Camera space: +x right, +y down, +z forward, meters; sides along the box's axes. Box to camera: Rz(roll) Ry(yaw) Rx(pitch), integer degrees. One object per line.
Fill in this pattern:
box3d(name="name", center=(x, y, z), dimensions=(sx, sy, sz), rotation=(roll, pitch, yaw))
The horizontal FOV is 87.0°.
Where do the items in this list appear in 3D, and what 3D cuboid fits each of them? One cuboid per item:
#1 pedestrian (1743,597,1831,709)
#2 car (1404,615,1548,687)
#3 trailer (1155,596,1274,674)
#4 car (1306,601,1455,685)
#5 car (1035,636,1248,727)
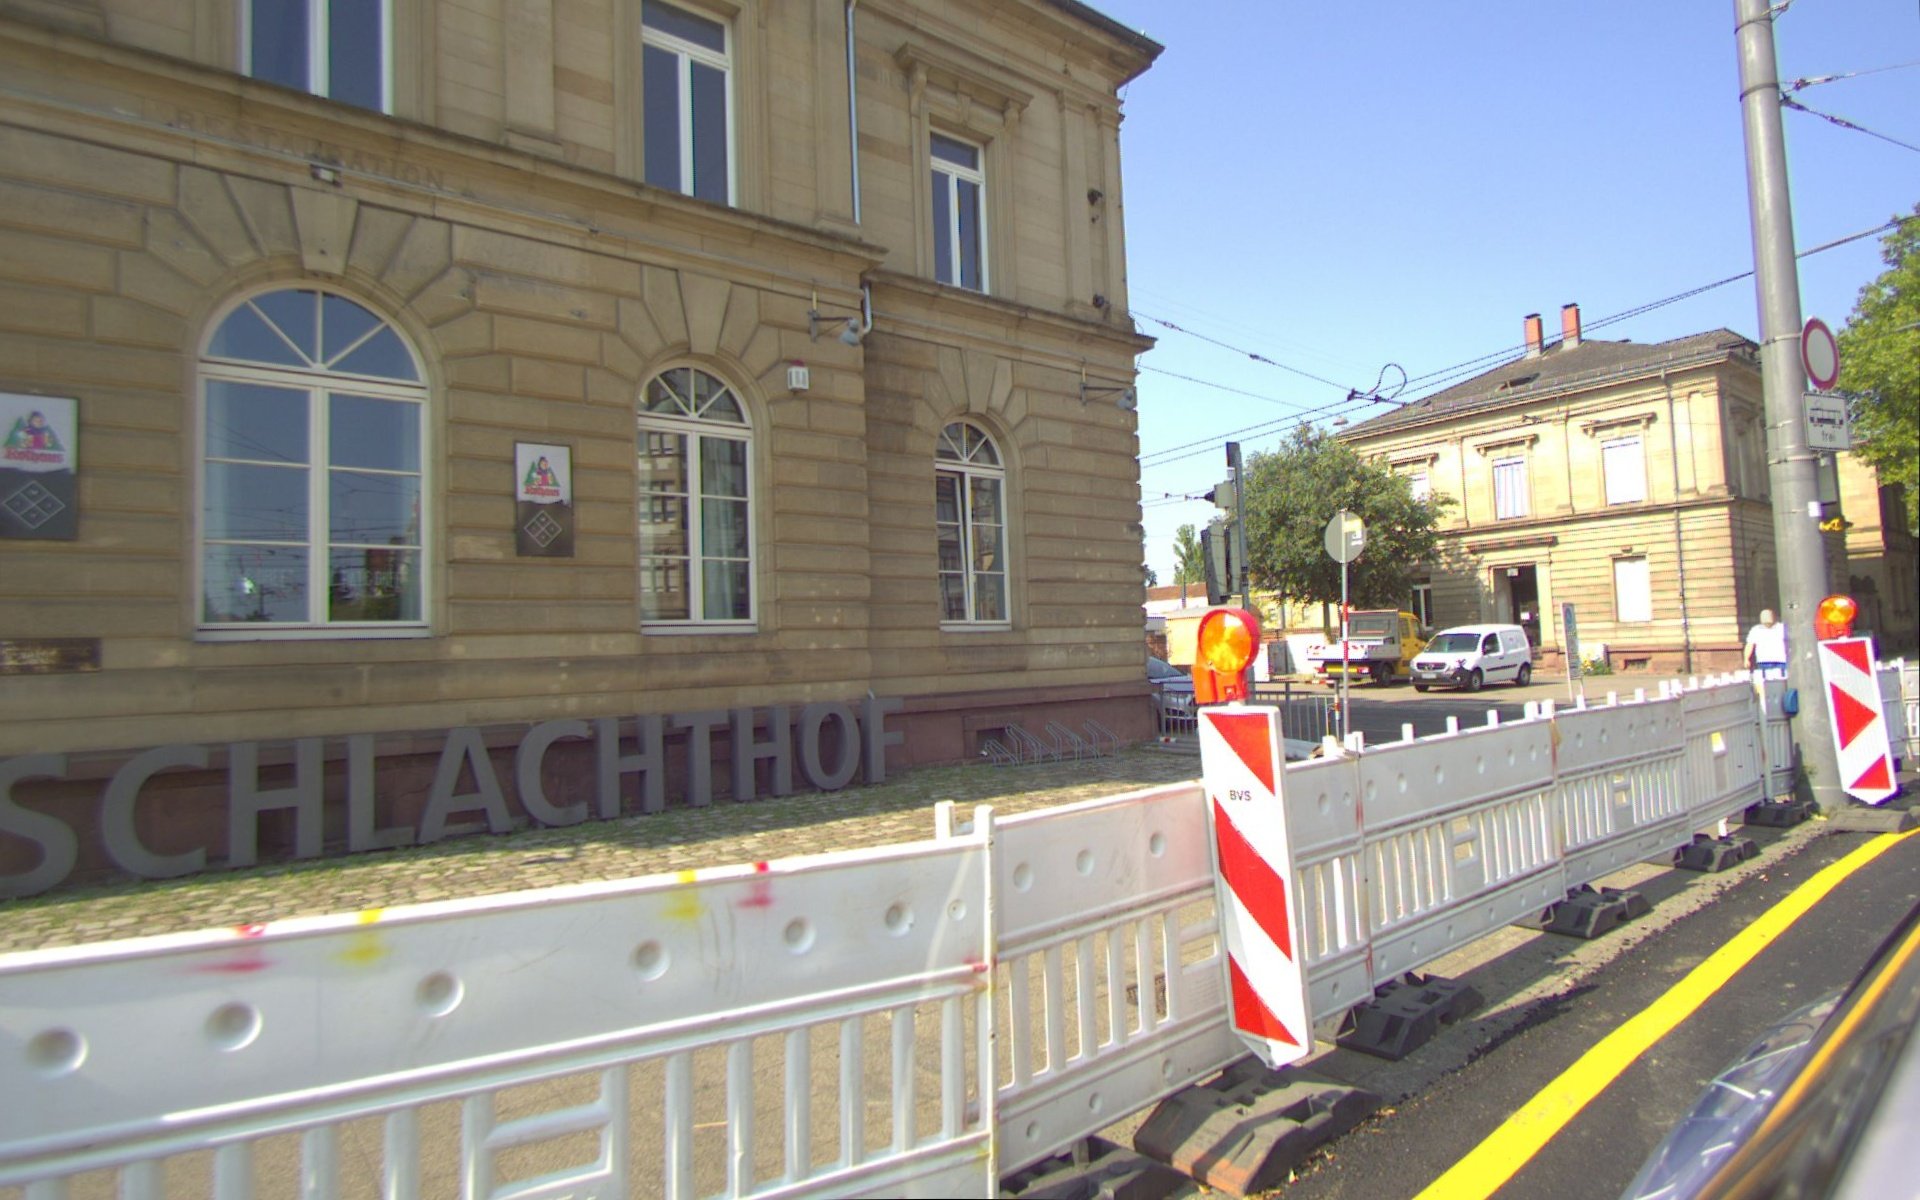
box3d(name="pedestrian", center=(13.493, 0.864, 16.514), dimensions=(0.659, 1.760, 0.868), rotation=(0, -5, -38))
box3d(name="car", center=(14.622, 1.415, 28.620), dimensions=(4.146, 1.806, 1.908), rotation=(-1, -3, -36))
box3d(name="trailer", center=(10.826, 1.515, 43.220), dimensions=(2.473, 3.088, 4.108), rotation=(0, -4, -44))
box3d(name="car", center=(13.672, 1.347, 32.709), dimensions=(5.395, 2.455, 2.259), rotation=(0, -5, -43))
box3d(name="car", center=(3.485, 1.546, 20.041), dimensions=(1.636, 1.556, 4.005), rotation=(-1, -2, -40))
